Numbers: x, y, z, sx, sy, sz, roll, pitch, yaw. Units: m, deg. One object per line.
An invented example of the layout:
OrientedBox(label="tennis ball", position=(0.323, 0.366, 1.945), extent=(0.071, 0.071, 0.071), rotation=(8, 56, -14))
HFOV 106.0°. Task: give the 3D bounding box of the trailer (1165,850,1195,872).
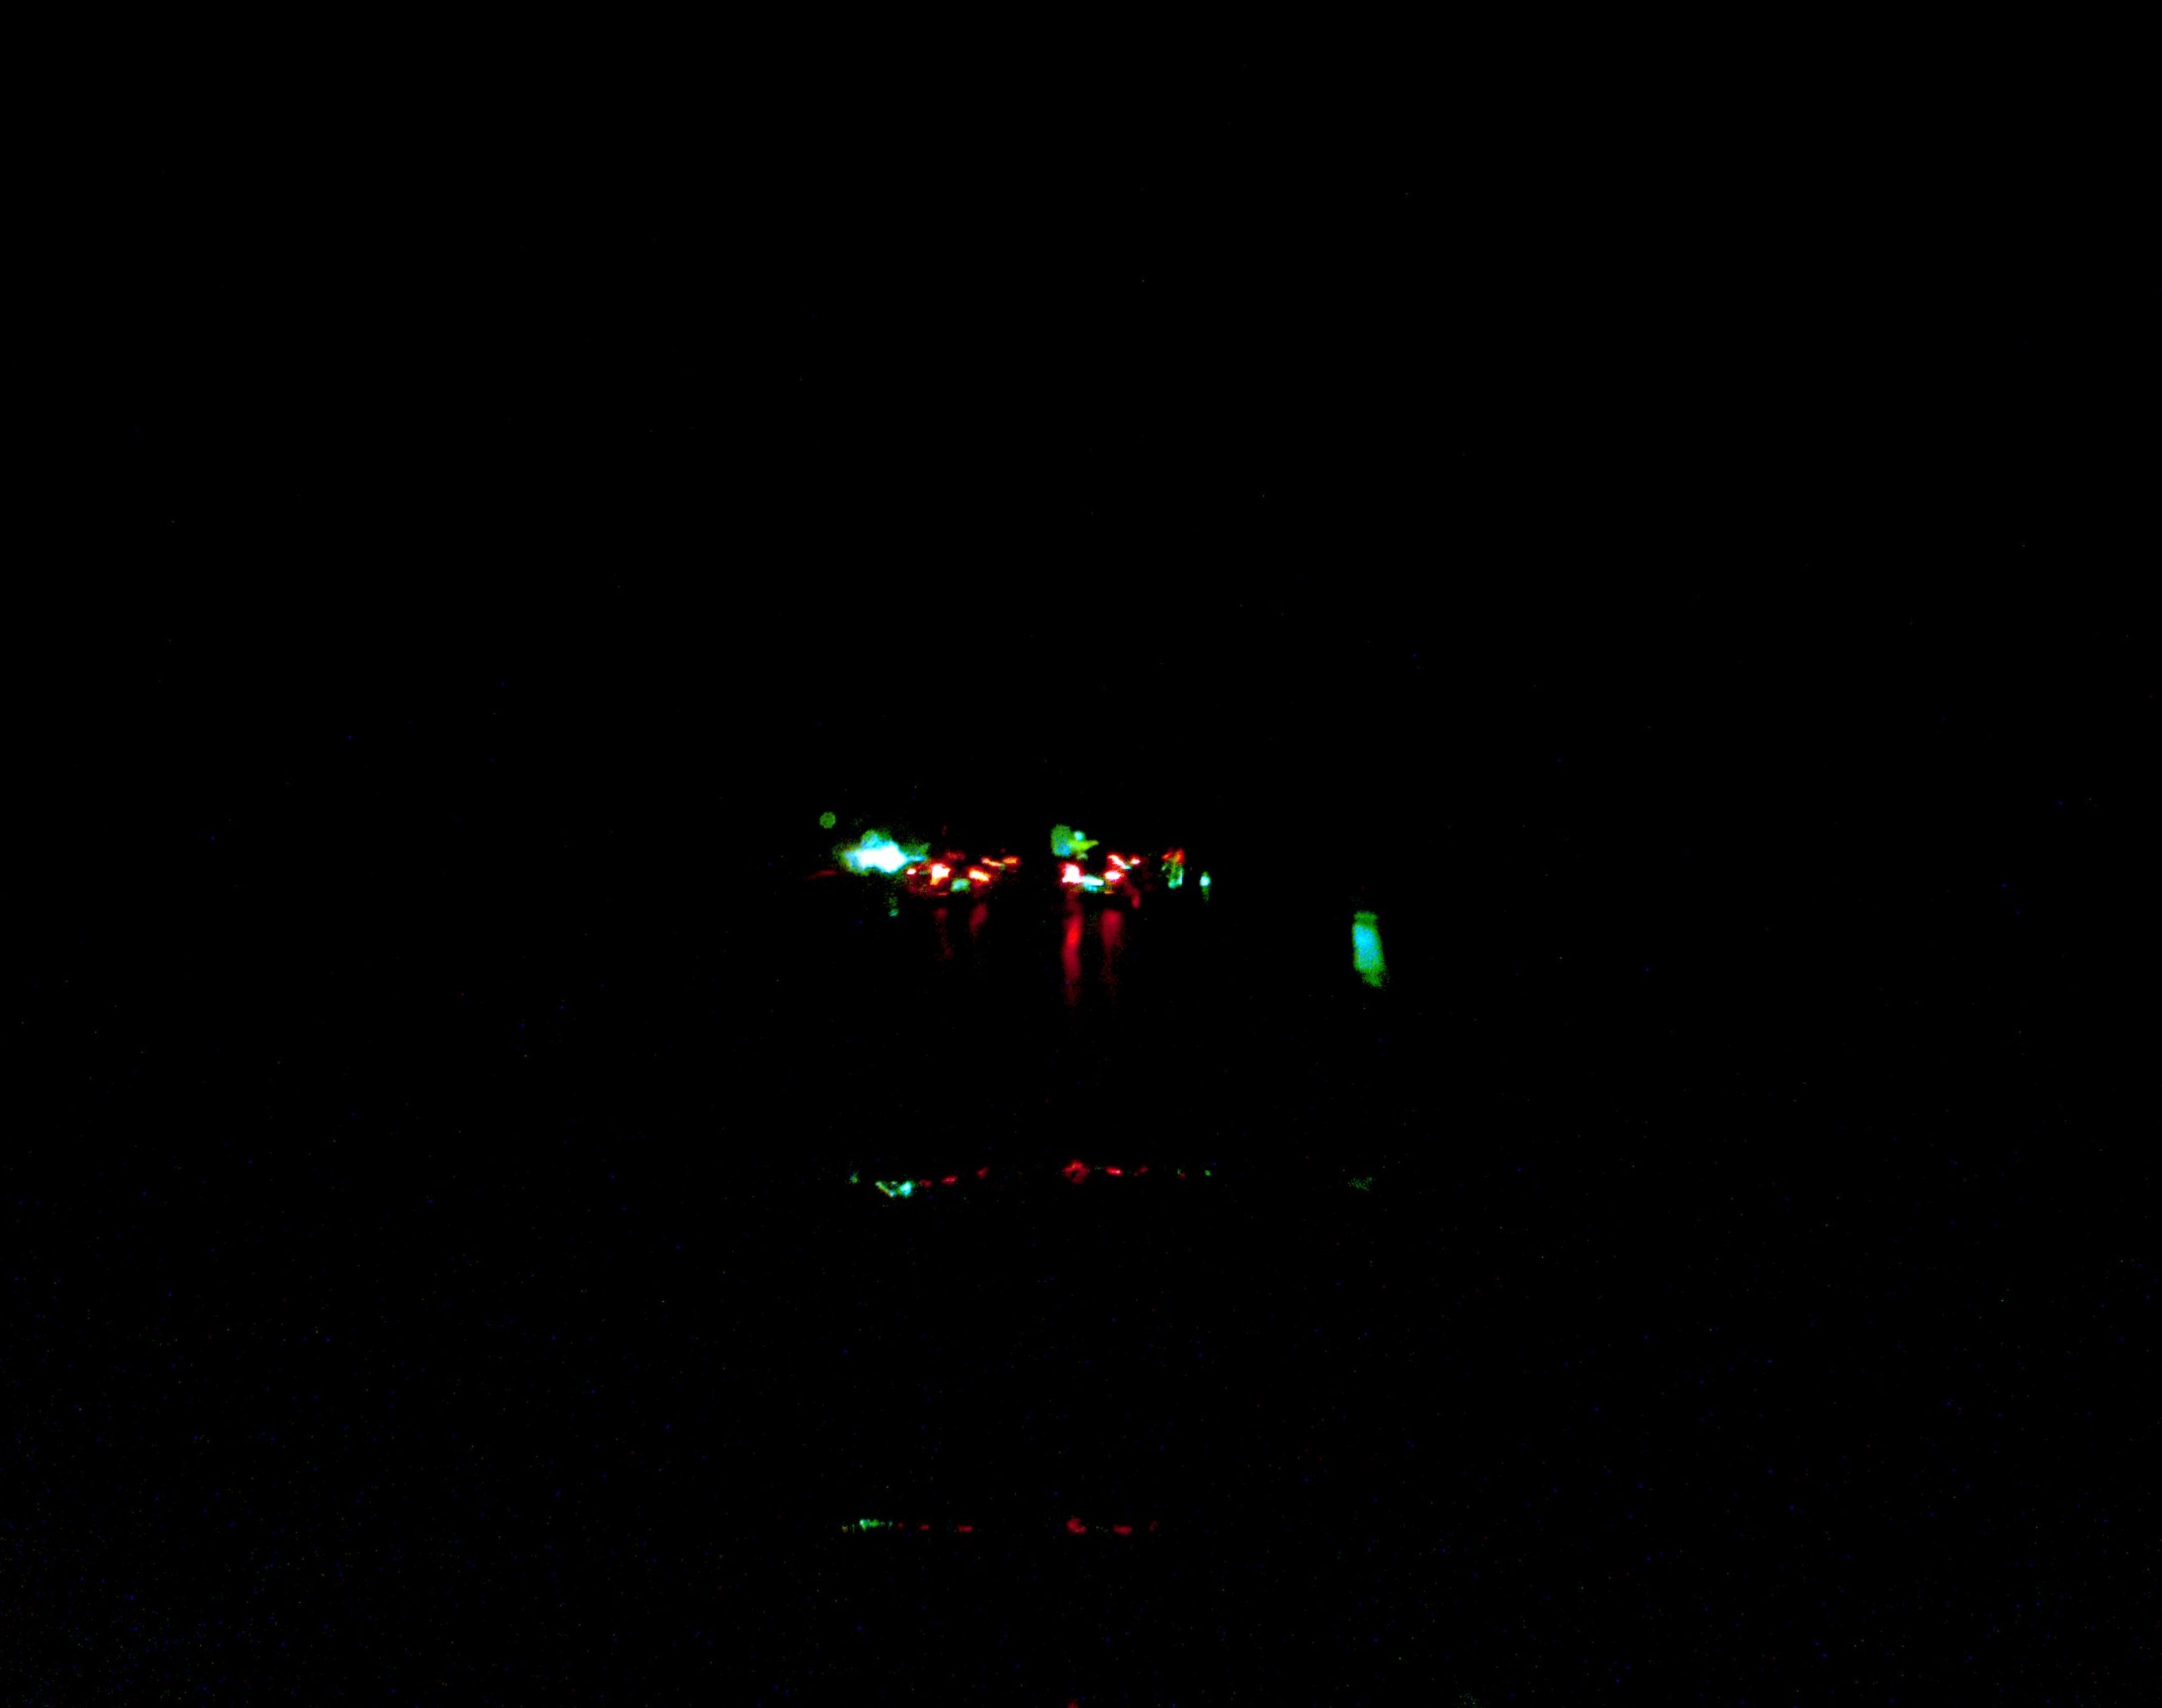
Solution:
OrientedBox(label="trailer", position=(9.755, 0.698, 79.677), extent=(2.064, 2.014, 10.680), rotation=(-1, -1, 11))

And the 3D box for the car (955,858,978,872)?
OrientedBox(label="car", position=(-13.543, 1.324, 96.167), extent=(1.884, 1.550, 4.004), rotation=(-1, -1, 4))

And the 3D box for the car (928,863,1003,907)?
OrientedBox(label="car", position=(-3.843, 1.008, 27.805), extent=(1.956, 1.380, 4.048), rotation=(0, -1, 0))

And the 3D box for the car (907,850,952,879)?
OrientedBox(label="car", position=(-8.386, 0.567, 45.425), extent=(1.763, 1.517, 4.910), rotation=(-1, 0, -2))
